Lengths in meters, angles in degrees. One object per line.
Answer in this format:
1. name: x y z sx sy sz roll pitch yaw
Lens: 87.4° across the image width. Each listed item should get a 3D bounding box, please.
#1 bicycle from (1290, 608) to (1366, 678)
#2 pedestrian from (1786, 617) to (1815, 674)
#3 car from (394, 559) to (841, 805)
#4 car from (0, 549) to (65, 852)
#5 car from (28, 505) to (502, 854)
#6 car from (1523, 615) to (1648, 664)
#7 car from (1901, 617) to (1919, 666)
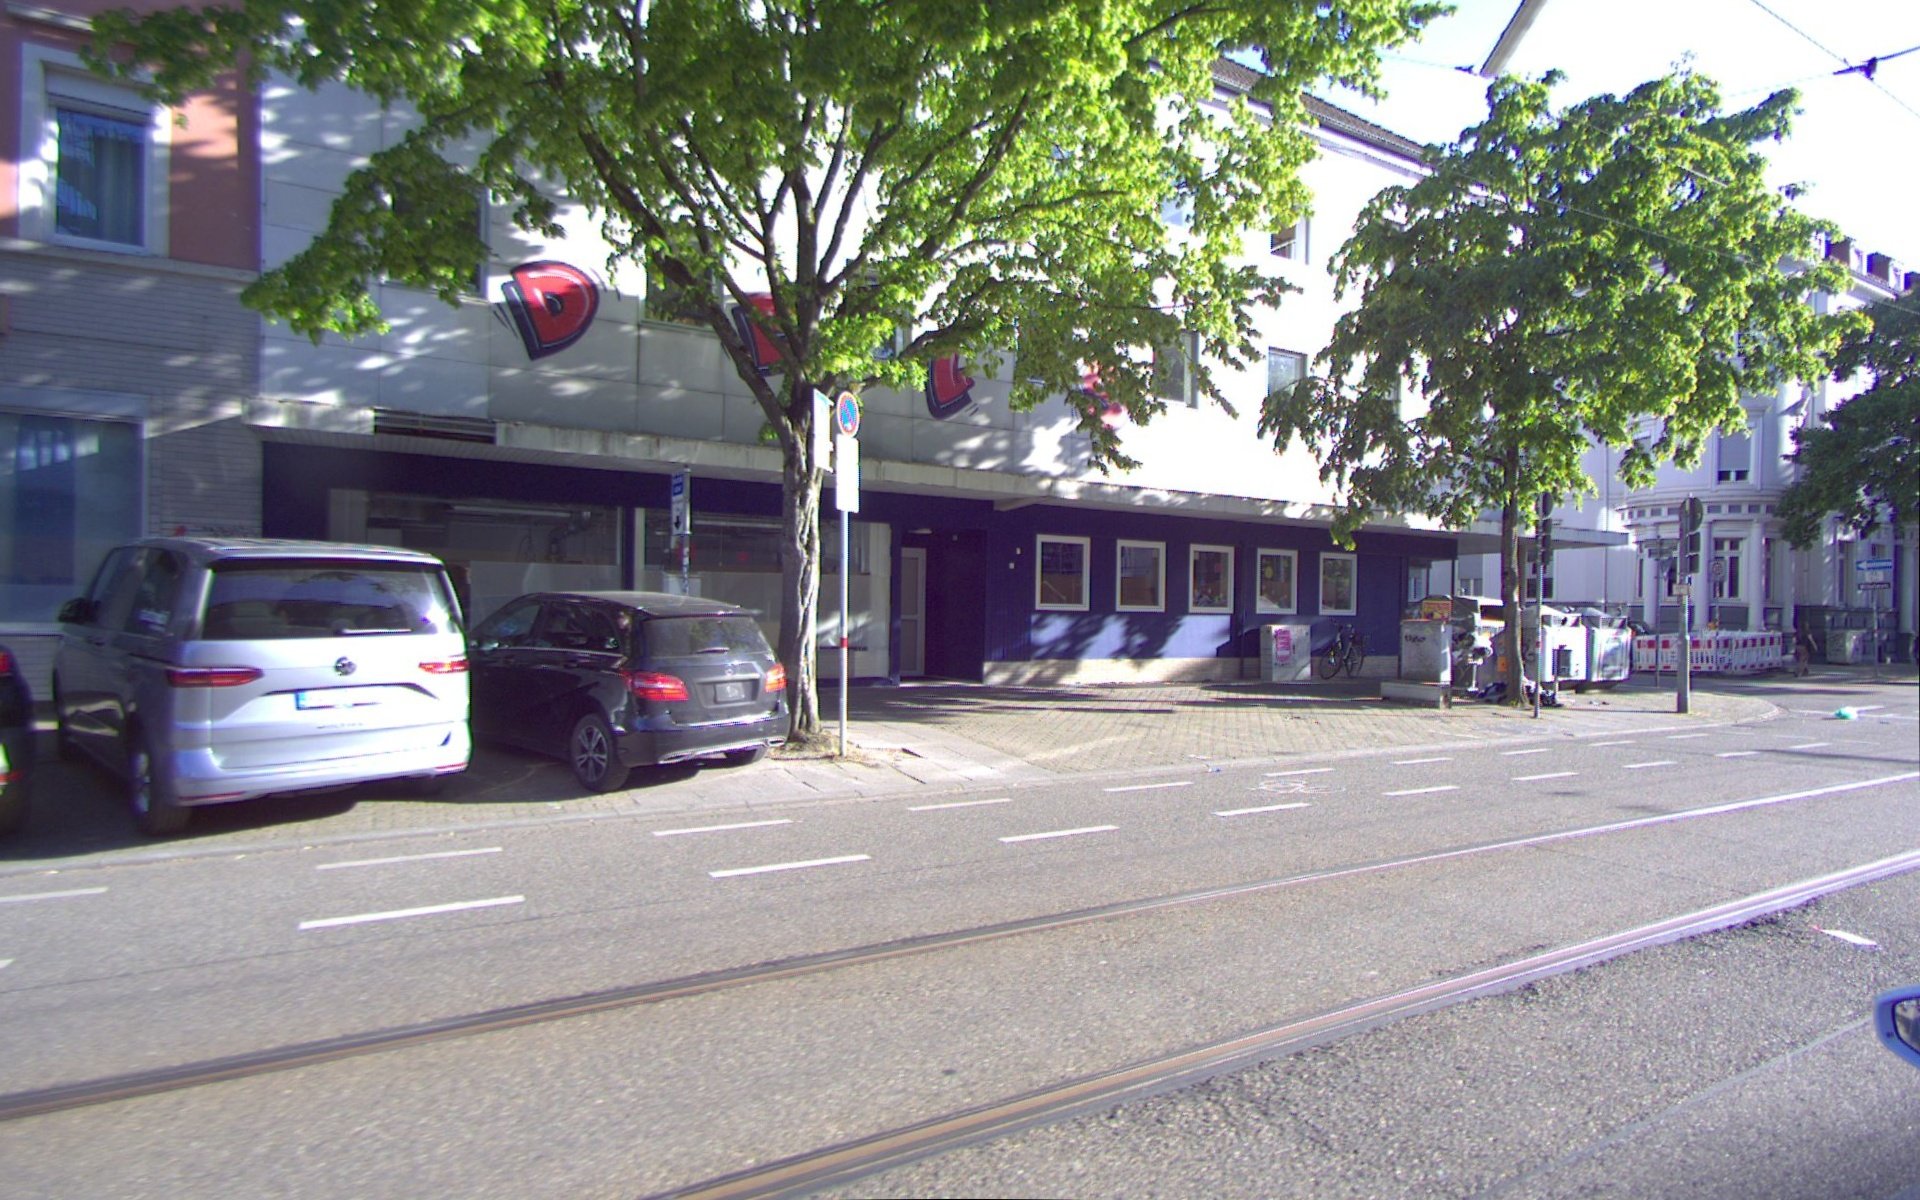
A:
1. bicycle: 7.564 0.858 20.590 2.169 1.362 0.520 1 0 -43
2. pedestrian: 23.737 1.276 28.378 0.502 1.593 0.346 1 0 -2
3. car: -3.346 0.568 9.472 4.227 1.689 1.905 4 2 37
4. car: -7.406 0.542 6.520 4.185 1.707 1.802 1 0 40
5. car: -5.621 0.376 7.906 4.301 2.013 1.941 3 2 39
6. car: 20.545 1.266 33.098 1.455 1.462 3.230 1 0 -24
7. car: 30.659 1.336 29.652 3.841 1.472 1.636 3 1 27
